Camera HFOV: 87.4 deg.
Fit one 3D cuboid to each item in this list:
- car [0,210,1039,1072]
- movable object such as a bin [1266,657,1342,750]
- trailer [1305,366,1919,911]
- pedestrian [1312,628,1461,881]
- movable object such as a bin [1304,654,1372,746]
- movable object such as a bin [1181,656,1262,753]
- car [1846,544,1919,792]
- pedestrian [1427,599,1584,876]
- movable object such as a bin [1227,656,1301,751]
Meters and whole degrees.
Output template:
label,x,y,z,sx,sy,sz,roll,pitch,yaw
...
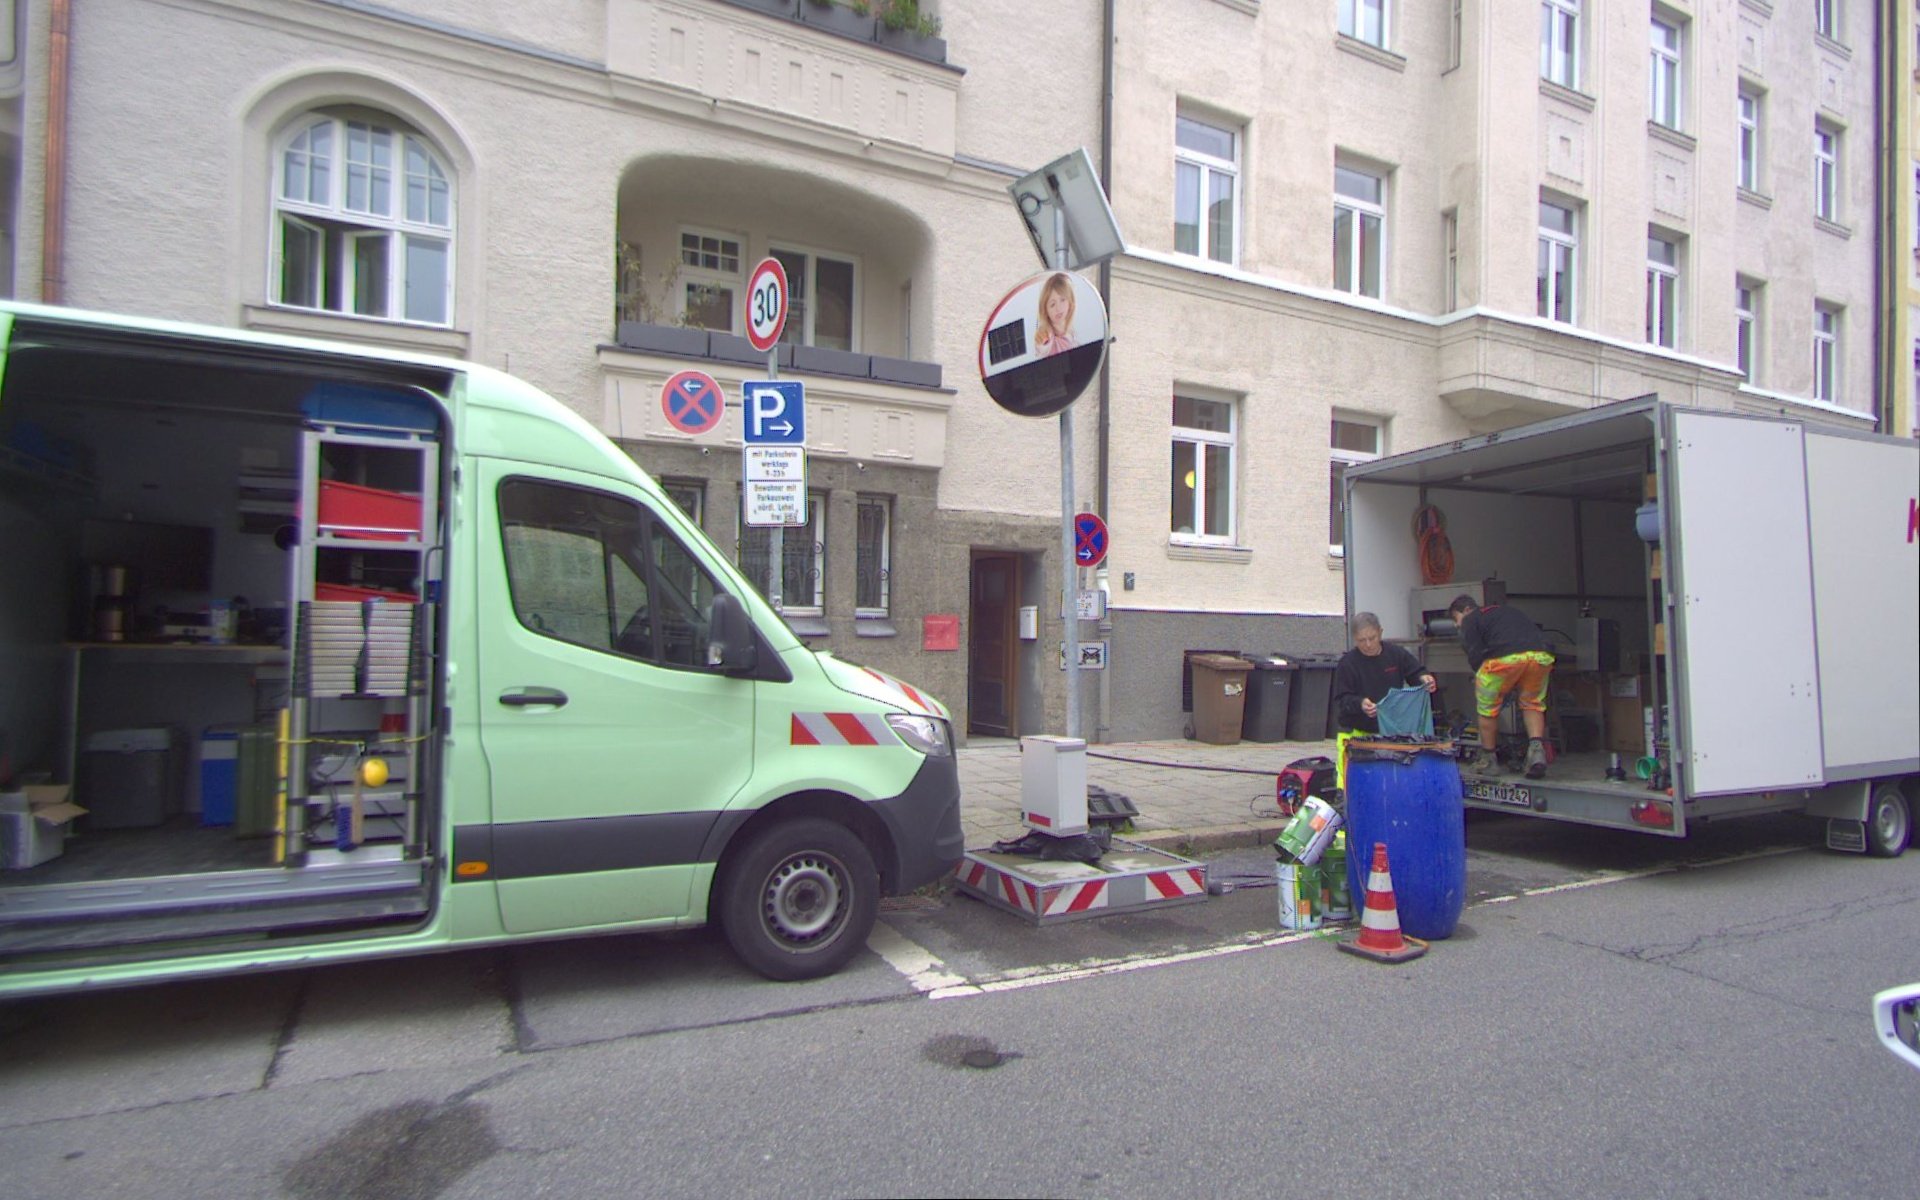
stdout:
label,x,y,z,sx,sy,sz,roll,pitch,yaw
car,-3.108,0.143,4.125,6.705,2.606,2.134,1,-1,-26
movable object such as a bin,4.412,1.310,12.900,0.630,1.143,0.675,2,-2,-23
trailer,6.811,0.336,8.389,7.494,3.007,2.797,1,-4,-25
pedestrian,2.911,0.996,6.869,0.633,1.601,0.754,3,-3,-43
movable object such as a bin,4.940,1.293,13.147,0.547,1.143,0.647,2,-2,-23
movable object such as a bin,3.218,1.266,12.381,0.720,1.143,0.647,2,-2,-23
car,13.392,0.756,11.766,6.788,2.620,2.050,2,-6,-27
pedestrian,3.538,0.840,6.520,0.753,1.652,0.633,-1,-3,45
movable object such as a bin,3.831,1.289,12.671,0.630,1.143,0.647,2,-2,-23
